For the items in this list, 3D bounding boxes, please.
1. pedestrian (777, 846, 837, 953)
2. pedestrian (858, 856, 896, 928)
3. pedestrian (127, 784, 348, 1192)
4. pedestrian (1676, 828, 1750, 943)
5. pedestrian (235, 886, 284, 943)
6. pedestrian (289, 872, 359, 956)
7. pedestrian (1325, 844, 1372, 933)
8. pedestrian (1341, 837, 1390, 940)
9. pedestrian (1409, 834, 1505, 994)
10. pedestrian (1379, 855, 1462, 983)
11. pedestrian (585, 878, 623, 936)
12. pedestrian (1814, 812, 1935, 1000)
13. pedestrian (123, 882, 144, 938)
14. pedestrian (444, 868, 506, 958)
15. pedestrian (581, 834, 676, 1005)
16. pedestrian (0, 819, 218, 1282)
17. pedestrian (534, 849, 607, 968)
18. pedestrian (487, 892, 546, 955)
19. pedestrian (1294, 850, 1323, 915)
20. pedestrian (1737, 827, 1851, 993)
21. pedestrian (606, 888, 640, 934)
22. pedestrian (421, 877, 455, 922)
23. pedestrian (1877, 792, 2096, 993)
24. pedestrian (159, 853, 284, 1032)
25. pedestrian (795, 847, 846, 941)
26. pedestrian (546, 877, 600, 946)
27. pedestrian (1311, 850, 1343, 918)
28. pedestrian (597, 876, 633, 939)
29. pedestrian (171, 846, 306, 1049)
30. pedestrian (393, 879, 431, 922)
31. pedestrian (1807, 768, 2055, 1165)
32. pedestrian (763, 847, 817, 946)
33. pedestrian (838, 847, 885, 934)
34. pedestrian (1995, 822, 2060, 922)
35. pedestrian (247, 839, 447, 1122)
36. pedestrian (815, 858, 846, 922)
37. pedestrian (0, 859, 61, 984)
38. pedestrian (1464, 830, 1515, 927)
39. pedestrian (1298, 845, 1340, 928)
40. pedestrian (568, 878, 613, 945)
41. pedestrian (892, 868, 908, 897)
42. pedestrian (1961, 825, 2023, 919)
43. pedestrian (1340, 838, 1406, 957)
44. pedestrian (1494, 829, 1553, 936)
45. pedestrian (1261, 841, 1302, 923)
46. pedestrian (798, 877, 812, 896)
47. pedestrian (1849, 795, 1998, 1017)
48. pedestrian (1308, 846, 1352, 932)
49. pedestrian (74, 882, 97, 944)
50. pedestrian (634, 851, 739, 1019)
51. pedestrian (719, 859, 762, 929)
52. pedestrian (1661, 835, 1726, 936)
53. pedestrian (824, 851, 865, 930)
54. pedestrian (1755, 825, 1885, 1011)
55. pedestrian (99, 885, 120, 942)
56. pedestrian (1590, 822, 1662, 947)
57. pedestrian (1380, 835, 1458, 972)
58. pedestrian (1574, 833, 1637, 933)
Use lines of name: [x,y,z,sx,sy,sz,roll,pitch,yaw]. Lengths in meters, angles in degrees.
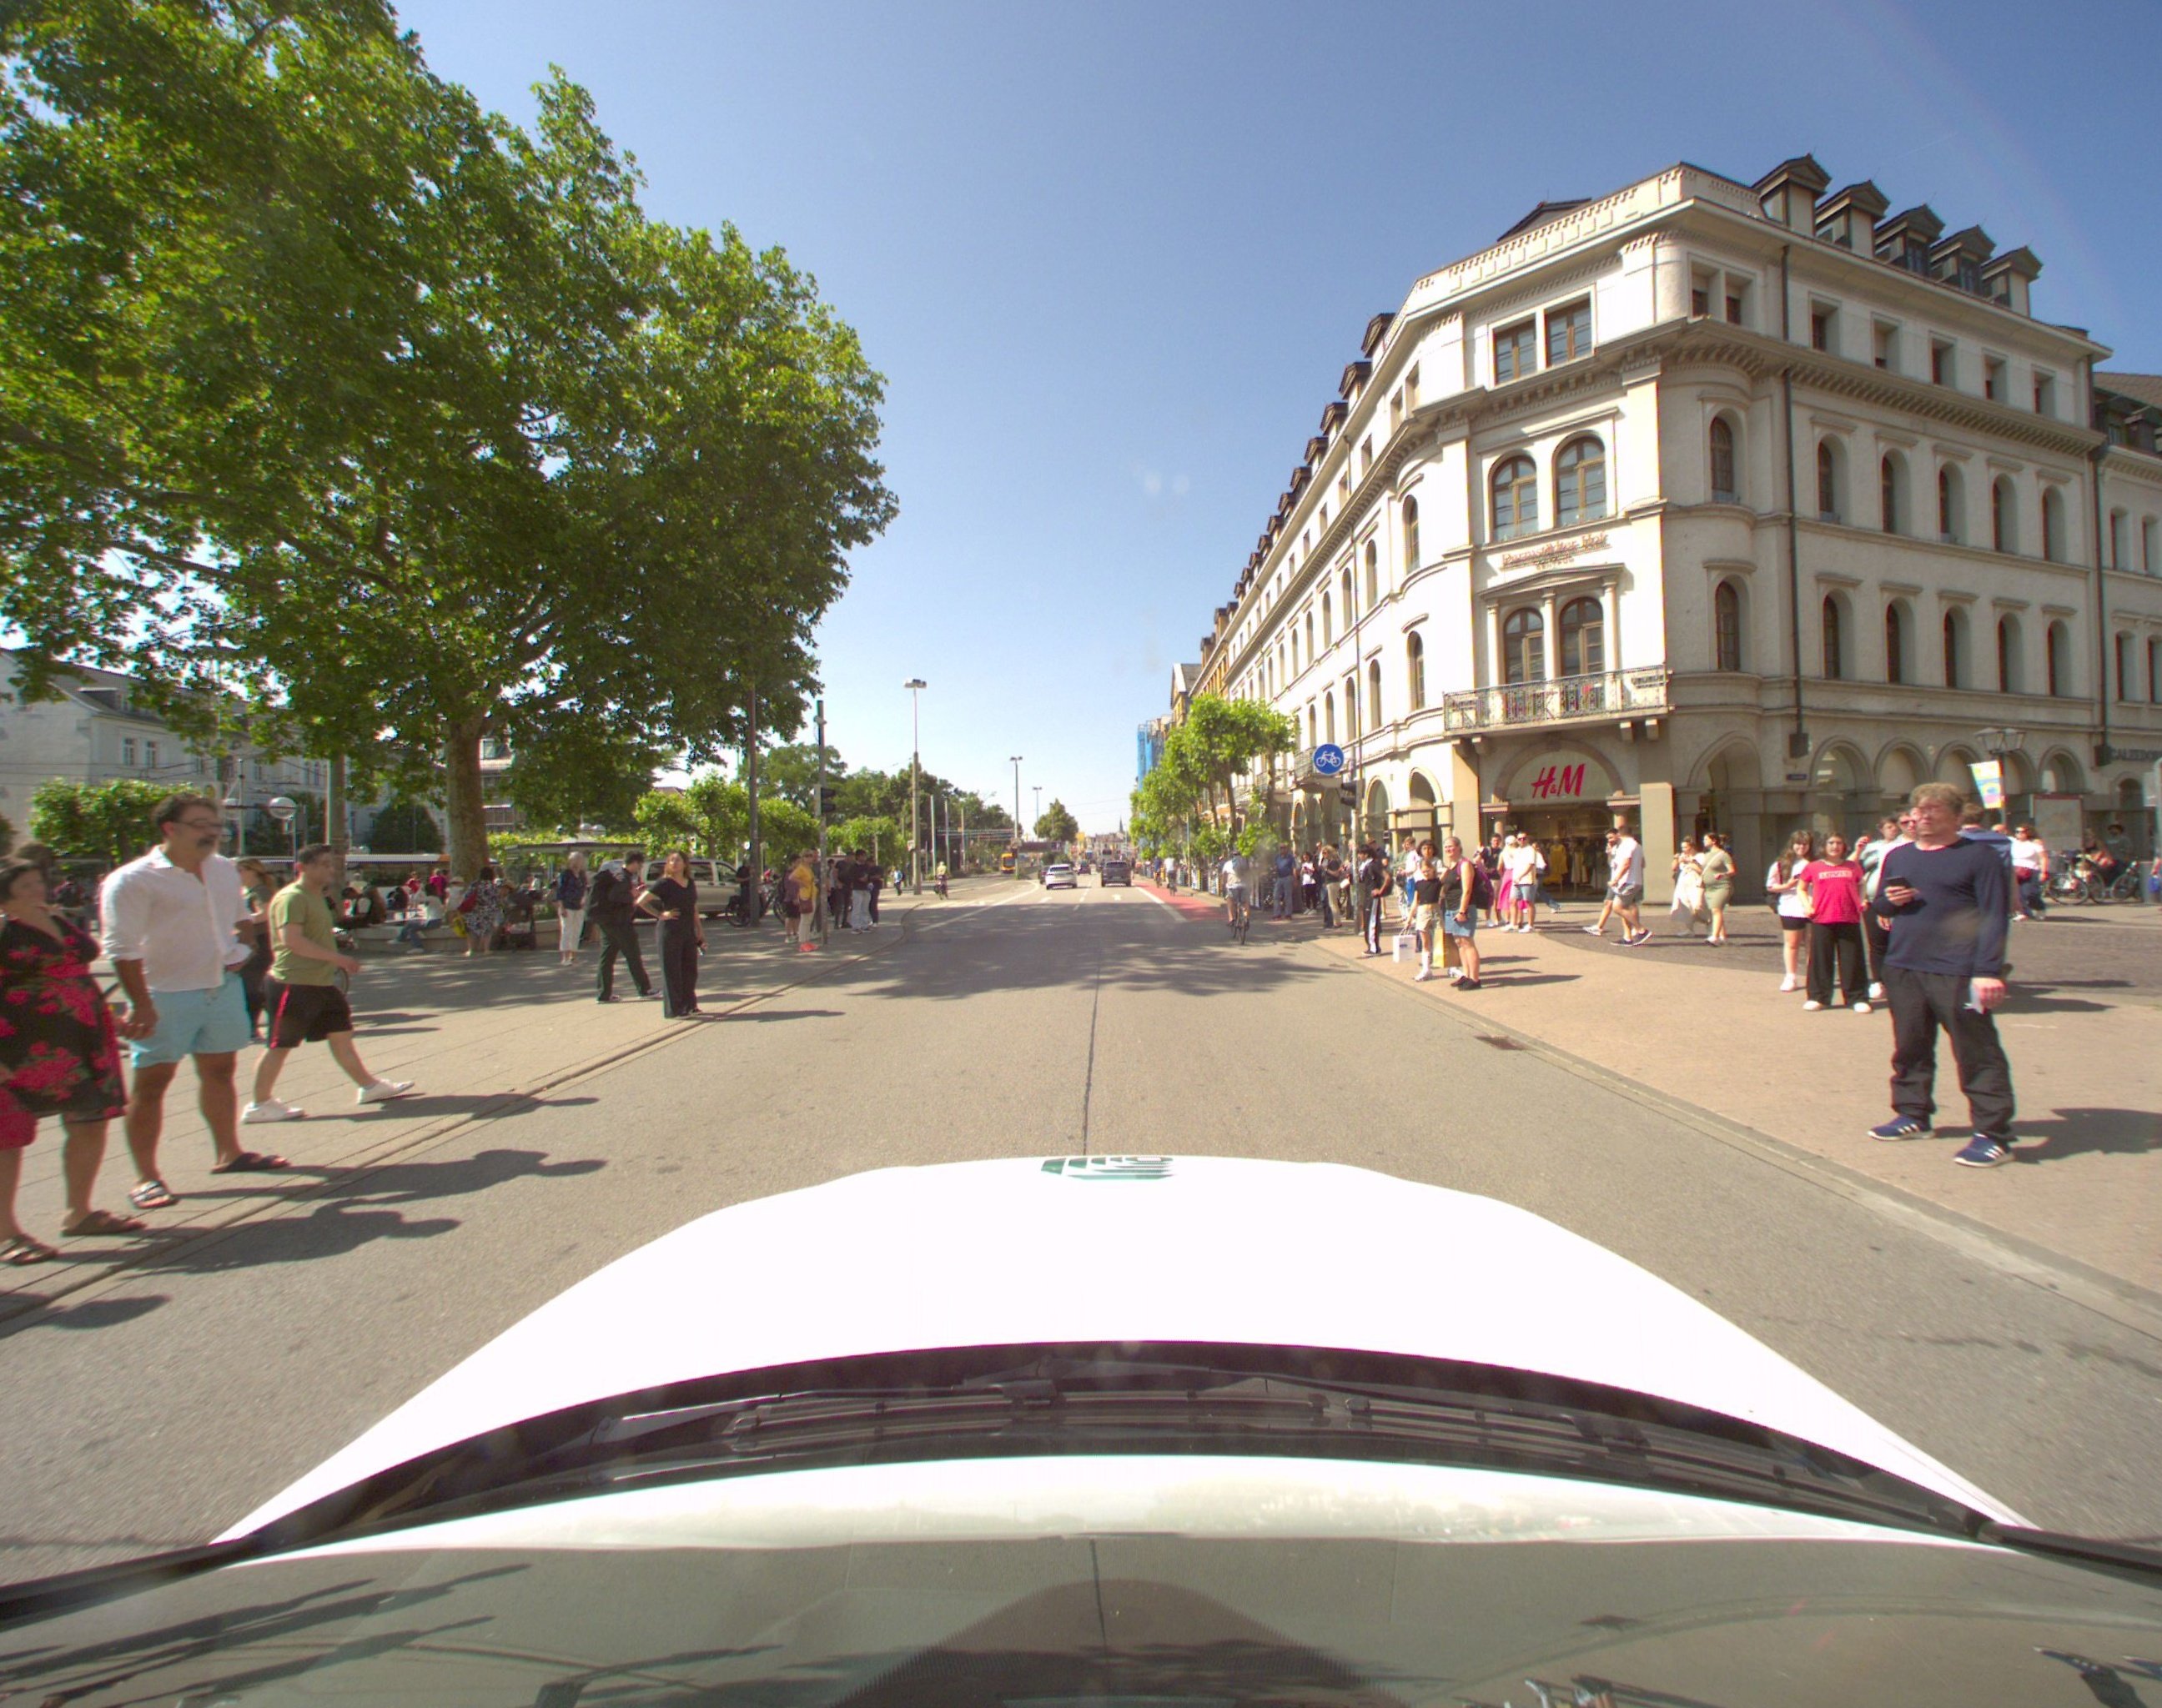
pedestrian: [-4.753,0.772,14.149,0.627,1.794,0.735,-2,-1,22]
pedestrian: [-4.867,0.896,19.457,0.611,1.668,0.596,-2,-1,31]
pedestrian: [-4.245,0.635,4.134,0.529,1.919,0.560,-1,-1,3]
pedestrian: [9.652,0.472,12.455,0.539,1.716,0.677,-1,-1,-3]
pedestrian: [-22.579,1.648,22.397,0.740,1.514,0.607,-1,-1,7]
pedestrian: [-13.940,1.091,15.007,0.627,1.479,0.735,-2,-1,22]
pedestrian: [5.230,0.667,15.934,0.581,1.673,0.605,-4,-1,-1]
pedestrian: [5.201,0.627,14.902,0.608,1.824,0.677,-1,-1,-1]
pedestrian: [4.403,0.682,9.582,0.669,1.769,0.677,-4,-1,-1]
pedestrian: [4.265,0.798,10.275,0.608,1.515,0.677,-6,-1,-1]
pedestrian: [-11.508,1.260,19.644,0.708,1.348,0.504,0,-2,-42]
pedestrian: [7.515,0.481,7.737,0.521,1.702,0.536,-3,-1,1]
pedestrian: [-27.331,1.614,23.482,0.410,1.574,0.385,-2,-1,40]
pedestrian: [-10.902,1.050,14.660,0.627,1.566,0.669,-2,-1,22]
pedestrian: [-5.163,0.722,9.307,0.627,1.859,0.690,-2,-1,22]
pedestrian: [-4.270,0.754,3.432,0.573,1.758,0.639,-1,-1,3]
pedestrian: [-8.063,0.844,12.872,0.627,1.810,0.735,-2,-1,22]
pedestrian: [-10.646,1.299,15.377,0.627,1.144,0.669,-2,-1,22]
pedestrian: [5.758,0.708,20.587,0.525,1.595,0.615,-2,2,28]
pedestrian: [7.285,0.557,8.353,0.521,1.609,0.641,-3,-1,1]
pedestrian: [-11.470,1.418,20.398,0.633,1.094,0.504,0,-2,-42]
pedestrian: [-22.687,1.597,28.746,0.603,1.514,0.745,-1,-1,-5]
pedestrian: [8.747,0.364,7.946,0.655,1.790,1.233,-1,-3,1]
pedestrian: [-8.545,0.846,8.119,0.572,1.711,0.608,0,-1,9]
pedestrian: [-5.299,0.800,16.585,0.626,1.859,0.735,-2,-1,31]
pedestrian: [-10.583,1.190,16.985,0.729,1.386,0.664,-1,-1,-6]
pedestrian: [5.923,0.714,19.636,0.525,1.595,0.615,-4,-2,28]
pedestrian: [-10.644,1.204,18.594,0.663,1.386,0.658,0,-1,-32]
pedestrian: [-7.703,0.822,7.468,0.573,1.779,0.607,0,-1,7]
pedestrian: [-24.027,1.659,29.240,0.738,1.514,0.739,-1,-1,15]
pedestrian: [4.393,0.546,4.259,0.520,1.898,0.642,-3,-1,4]
pedestrian: [-5.663,0.813,15.869,0.626,1.859,0.735,-2,-1,31]
pedestrian: [-4.751,0.780,17.662,0.626,1.834,0.735,-2,-1,31]
pedestrian: [17.109,0.315,14.725,0.543,1.770,0.671,0,0,-29]
pedestrian: [-4.803,0.780,5.377,0.581,1.722,0.790,-1,-1,3]
pedestrian: [-6.945,0.996,22.611,0.608,1.725,0.677,-1,-1,-1]
pedestrian: [-16.076,1.009,12.393,0.549,1.859,0.500,0,-1,-32]
pedestrian: [7.900,0.462,15.775,0.608,1.824,0.677,-1,-1,-1]
pedestrian: [5.044,0.681,17.261,0.581,1.700,0.605,-4,-1,-1]
pedestrian: [-10.661,1.236,17.714,0.659,1.386,0.661,-1,-1,-16]
pedestrian: [-10.354,1.617,46.620,0.768,1.629,0.612,-1,-1,0]
pedestrian: [17.110,0.320,15.296,0.543,1.716,0.671,0,0,-29]
pedestrian: [4.529,0.659,12.658,0.608,1.739,0.677,-6,-1,-1]
pedestrian: [7.755,0.491,14.291,0.608,1.807,0.677,-1,-1,-1]
pedestrian: [4.833,0.665,19.595,0.681,1.898,0.615,-5,-1,28]
pedestrian: [-19.517,2.271,57.591,0.651,1.336,0.713,-1,-1,3]
pedestrian: [7.296,0.434,7.079,0.521,1.824,0.641,-3,-1,1]
pedestrian: [5.050,0.694,16.548,0.581,1.673,0.605,-4,-1,-1]
pedestrian: [-27.711,1.633,22.671,0.410,1.671,0.385,-2,-1,40]
pedestrian: [-3.960,0.783,8.204,0.627,1.595,0.690,-2,-1,22]
pedestrian: [-8.781,1.020,21.015,0.671,1.764,0.771,-2,-1,31]
pedestrian: [10.199,0.522,13.577,0.538,1.633,0.677,-1,-1,0]
pedestrian: [-5.584,0.857,19.263,0.611,1.824,0.668,-2,-1,31]
pedestrian: [6.774,0.569,7.496,0.521,1.611,0.641,-3,-1,1]
pedestrian: [-27.591,1.683,23.127,0.410,1.574,0.385,-2,-1,40]
pedestrian: [8.303,0.462,12.430,0.673,1.855,0.541,-1,-1,-1]
pedestrian: [4.620,0.662,11.177,0.608,1.759,0.677,-6,-1,-1]
pedestrian: [8.739,0.471,13.595,0.608,1.618,0.678,-1,1,-1]
